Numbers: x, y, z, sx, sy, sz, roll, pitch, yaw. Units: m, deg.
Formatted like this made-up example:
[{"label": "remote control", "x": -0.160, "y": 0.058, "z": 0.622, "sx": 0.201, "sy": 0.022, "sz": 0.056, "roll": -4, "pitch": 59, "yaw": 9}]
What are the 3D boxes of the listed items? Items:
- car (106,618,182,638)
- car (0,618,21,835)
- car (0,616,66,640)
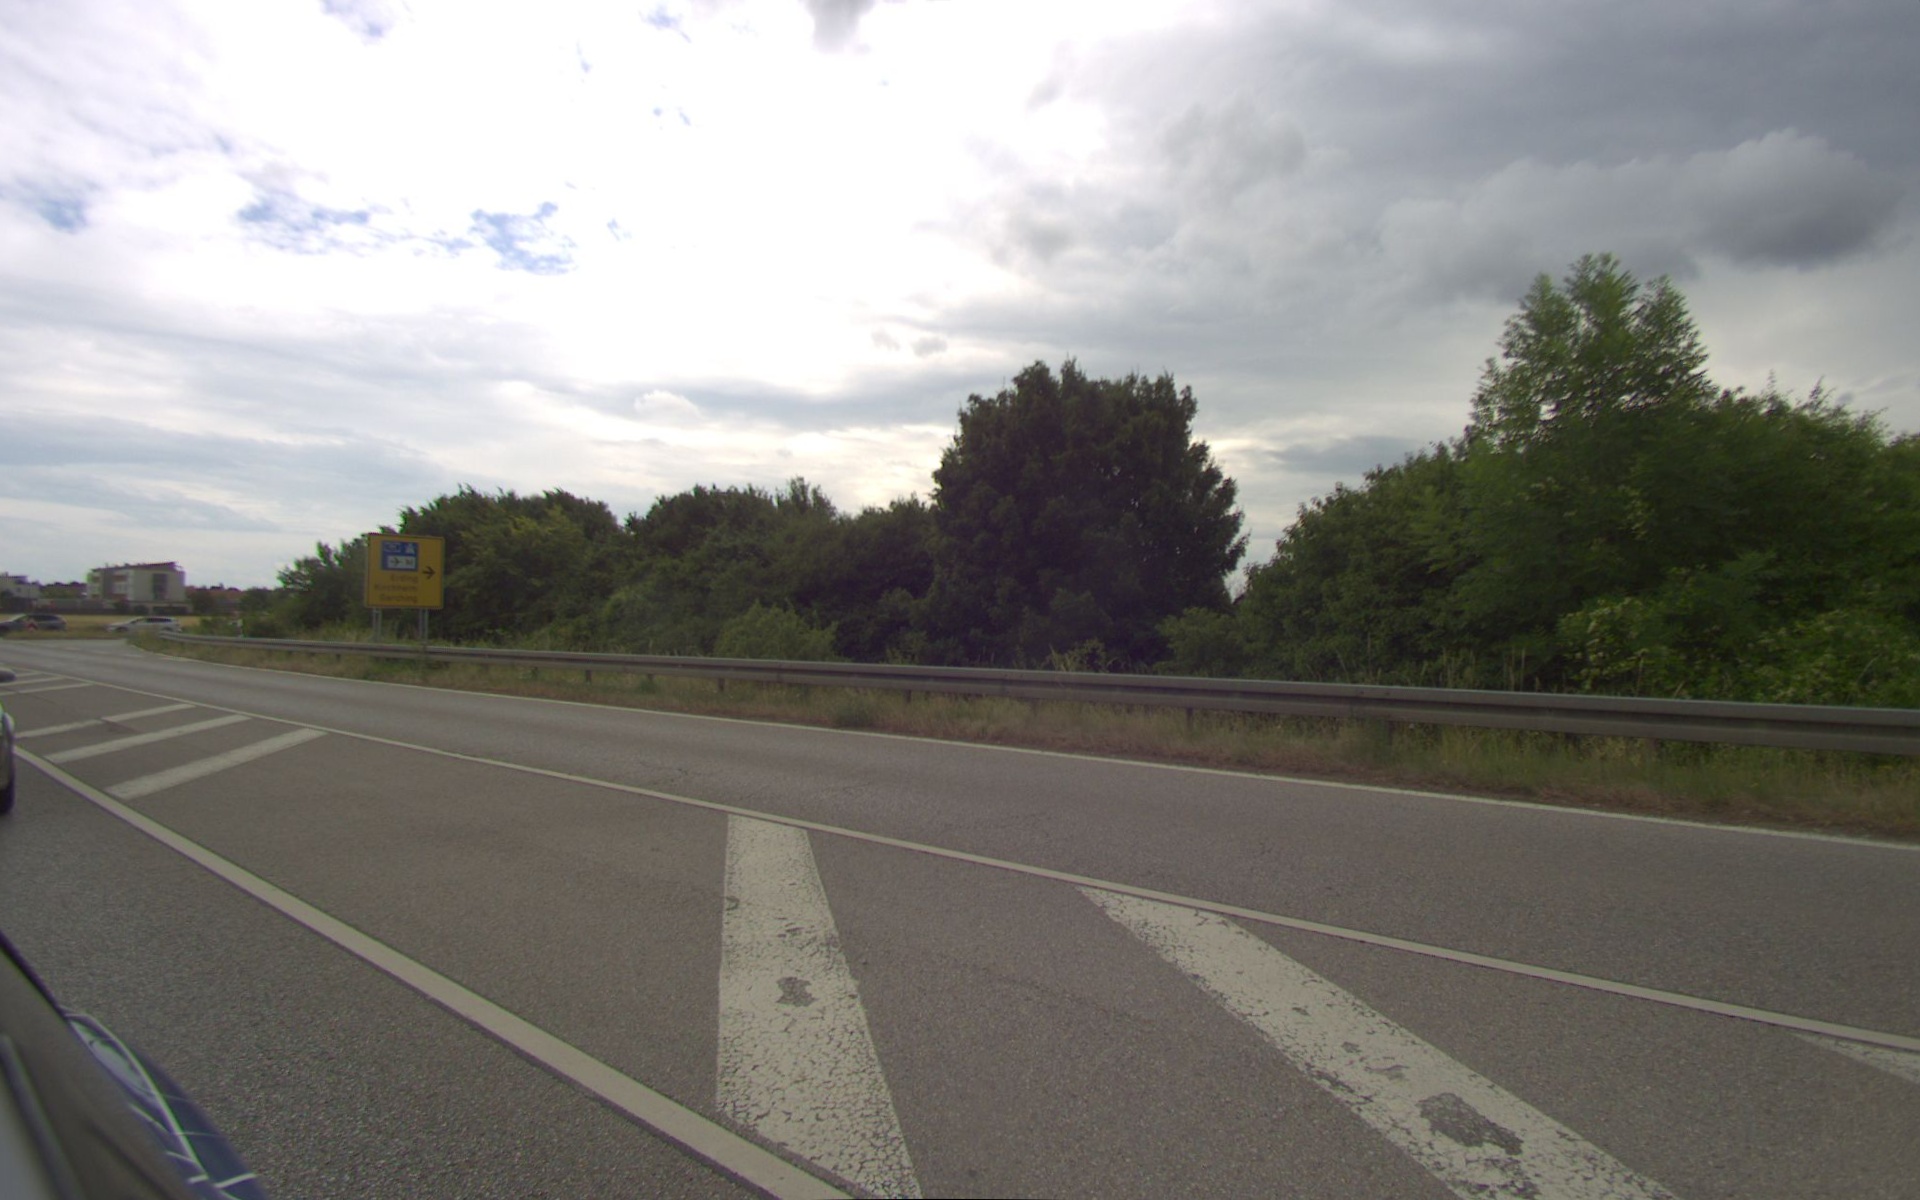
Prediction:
[{"label": "car", "x": -63.993, "y": 2.184, "z": 79.400, "sx": 4.605, "sy": 1.510, "sz": 2.003, "roll": 1, "pitch": -1, "yaw": -40}, {"label": "car", "x": -8.528, "y": 0.866, "z": 7.569, "sx": 4.201, "sy": 1.455, "sz": 1.708, "roll": -1, "pitch": -2, "yaw": 40}, {"label": "car", "x": -68.539, "y": 2.004, "z": 73.770, "sx": 1.996, "sy": 1.702, "sz": 4.758, "roll": -1, "pitch": -1, "yaw": 36}]
